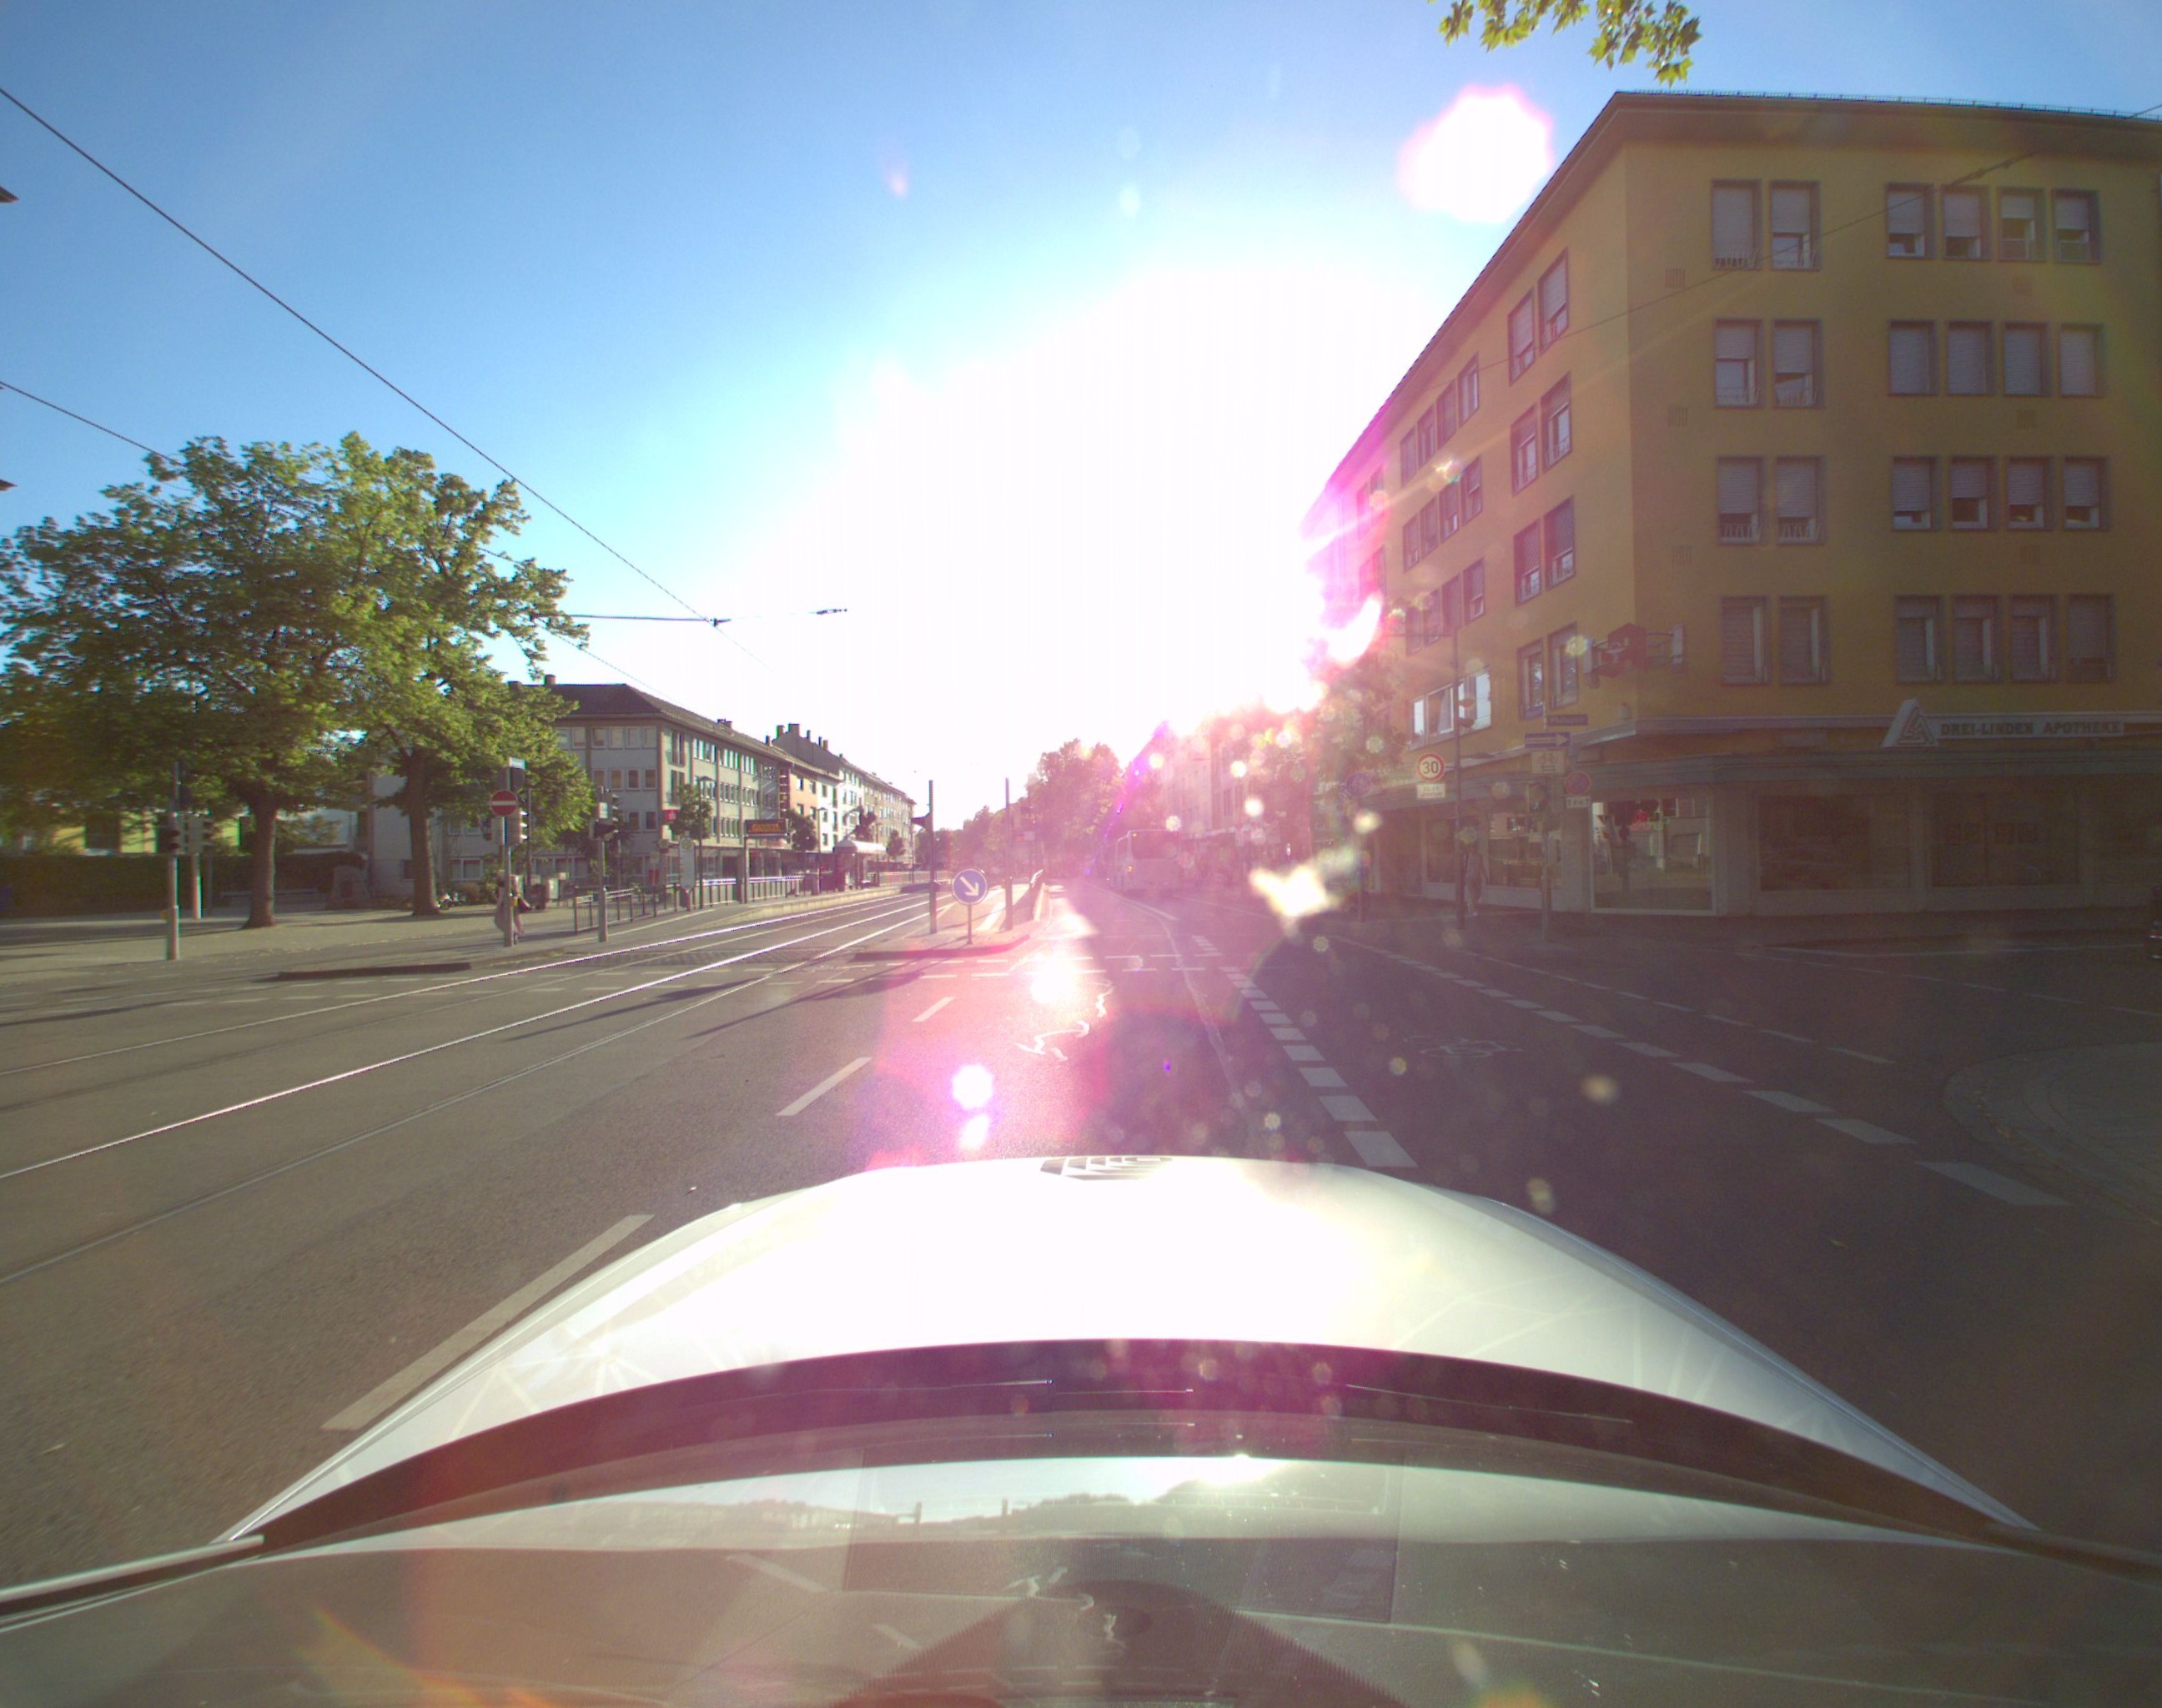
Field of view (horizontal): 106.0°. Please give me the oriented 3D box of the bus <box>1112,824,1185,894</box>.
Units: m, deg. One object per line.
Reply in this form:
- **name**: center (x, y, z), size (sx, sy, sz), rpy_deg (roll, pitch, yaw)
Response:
- **bus**: center (3.194, 0.301, 41.009), size (2.689, 3.118, 9.375), rpy_deg (0, -1, -1)

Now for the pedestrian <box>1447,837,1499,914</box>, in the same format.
- **pedestrian**: center (9.356, 0.498, 19.453), size (0.742, 1.780, 0.894), rpy_deg (-1, -1, -3)

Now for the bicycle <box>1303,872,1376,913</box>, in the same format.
- **bicycle**: center (7.065, 1.038, 22.263), size (1.795, 1.008, 0.540), rpy_deg (-3, -1, -6)

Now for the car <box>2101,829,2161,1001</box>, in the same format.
- **car**: center (12.764, 0.552, 7.654), size (4.331, 1.686, 1.770), rpy_deg (-1, -1, -3)

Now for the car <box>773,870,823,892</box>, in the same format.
- **car**: center (-23.308, 2.217, 67.238), size (1.748, 1.679, 3.533), rpy_deg (-1, 0, 35)

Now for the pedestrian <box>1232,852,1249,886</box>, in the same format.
- **pedestrian**: center (8.890, 0.827, 45.519), size (0.722, 1.840, 0.766), rpy_deg (-1, -1, -3)

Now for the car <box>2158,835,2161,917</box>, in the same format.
- **car**: center (21.100, 0.354, 13.869), size (3.302, 1.484, 1.771), rpy_deg (-1, -1, -3)

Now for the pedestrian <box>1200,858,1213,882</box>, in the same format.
- **pedestrian**: center (8.648, 1.086, 55.991), size (0.722, 1.632, 0.766), rpy_deg (-1, -1, -3)

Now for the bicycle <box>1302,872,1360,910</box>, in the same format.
- **bicycle**: center (7.017, 1.027, 22.896), size (1.480, 1.008, 0.453), rpy_deg (-1, -1, -6)

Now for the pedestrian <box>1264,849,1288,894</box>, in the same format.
- **pedestrian**: center (8.015, 0.725, 33.546), size (0.722, 1.807, 0.766), rpy_deg (-1, -1, -3)

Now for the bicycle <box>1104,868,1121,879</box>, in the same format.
- **bicycle**: center (3.561, 2.192, 91.866), size (1.880, 1.077, 0.754), rpy_deg (-5, -1, 0)

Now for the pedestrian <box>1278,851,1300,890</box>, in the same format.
- **pedestrian**: center (9.321, 0.748, 36.496), size (0.722, 1.723, 0.766), rpy_deg (-1, -1, -3)

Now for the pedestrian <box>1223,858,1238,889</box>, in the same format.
- **pedestrian**: center (7.790, 0.992, 42.490), size (0.608, 1.578, 0.850), rpy_deg (-1, -1, -2)

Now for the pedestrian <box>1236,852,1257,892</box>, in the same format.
- **pedestrian**: center (7.610, 0.825, 37.451), size (0.722, 1.779, 0.766), rpy_deg (-1, -1, -3)

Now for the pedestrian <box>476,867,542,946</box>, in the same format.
- **pedestrian**: center (-13.236, 1.192, 18.869), size (0.916, 1.760, 0.832), rpy_deg (-1, -1, -1)

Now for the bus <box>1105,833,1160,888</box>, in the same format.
- **bus**: center (3.015, 0.429, 50.238), size (2.689, 3.118, 9.065), rpy_deg (0, -1, -1)
